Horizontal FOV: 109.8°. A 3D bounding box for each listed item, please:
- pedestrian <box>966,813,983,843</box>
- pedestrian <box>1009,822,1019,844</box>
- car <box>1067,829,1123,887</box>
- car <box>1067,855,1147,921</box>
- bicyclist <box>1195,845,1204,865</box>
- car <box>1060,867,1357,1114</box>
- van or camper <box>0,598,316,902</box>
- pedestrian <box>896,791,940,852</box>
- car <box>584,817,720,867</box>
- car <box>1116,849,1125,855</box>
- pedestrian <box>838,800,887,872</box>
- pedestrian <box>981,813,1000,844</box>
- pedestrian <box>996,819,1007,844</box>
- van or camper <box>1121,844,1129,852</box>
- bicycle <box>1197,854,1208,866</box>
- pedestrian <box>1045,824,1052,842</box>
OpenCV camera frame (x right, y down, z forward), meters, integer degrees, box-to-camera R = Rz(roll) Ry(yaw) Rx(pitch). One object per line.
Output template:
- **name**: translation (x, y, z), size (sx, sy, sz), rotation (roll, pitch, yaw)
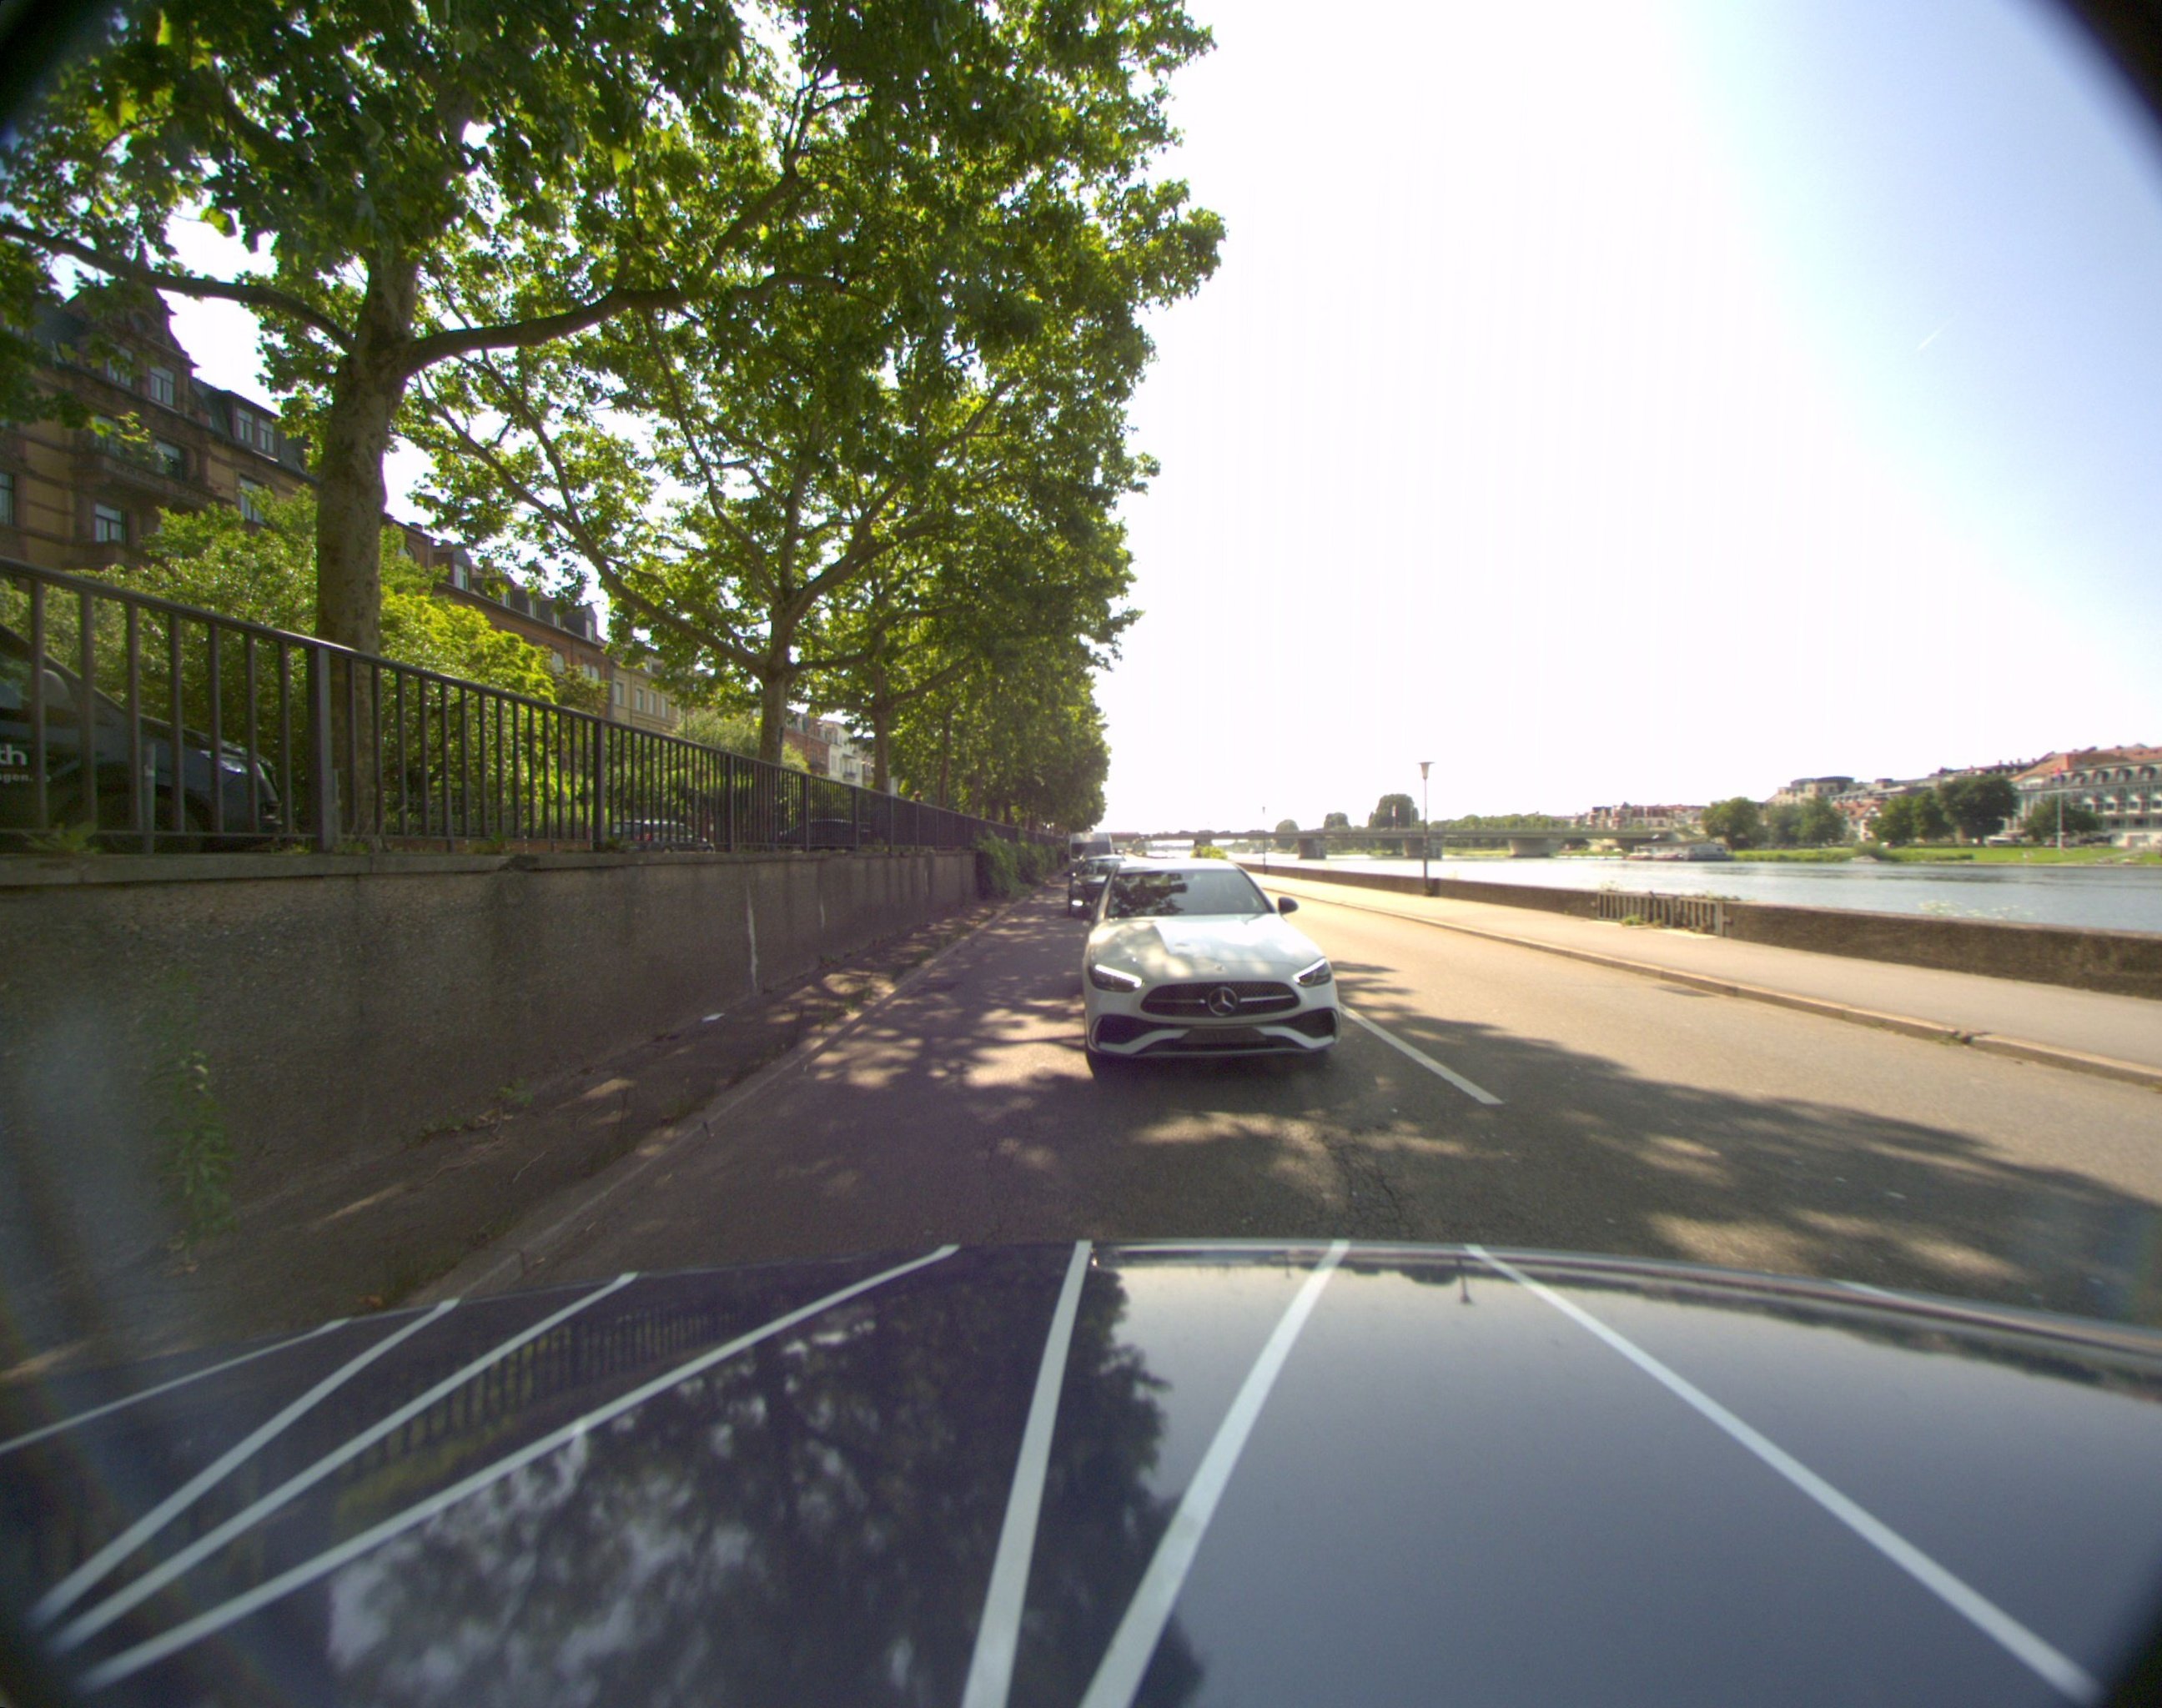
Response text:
- **pedestrian**: translation (-4.860, -1.181, 34.640), size (0.645, 1.358, 0.794), rotation (2, 1, -1)
- **pedestrian**: translation (-4.357, -1.380, 49.512), size (0.586, 1.411, 0.589), rotation (0, 1, -7)
- **car**: translation (0.603, 0.145, 35.113), size (2.351, 2.429, 6.208), rotation (0, 1, 0)
- **car**: translation (0.592, 0.770, 19.352), size (1.756, 1.385, 4.619), rotation (-1, 0, 0)
- **bicyclist**: translation (10.085, 0.088, 64.626), size (0.639, 1.664, 0.871), rotation (0, 1, 0)
- **car**: translation (0.853, 0.907, 7.061), size (1.830, 1.411, 4.552), rotation (-2, 0, 1)
- **van or camper**: translation (-9.782, -0.598, 4.185), size (2.339, 2.171, 7.368), rotation (-3, 1, 30)
- **pedestrian**: translation (-4.360, -0.864, 20.423), size (0.939, 1.570, 1.027), rotation (2, 1, -1)
- **car**: translation (-14.071, -0.376, 25.255), size (1.841, 1.504, 4.429), rotation (1, 0, 3)
- **car**: translation (8.678, -0.444, 168.318), size (1.736, 1.433, 4.045), rotation (1, 1, 0)
- **pedestrian**: translation (-4.498, -0.363, 15.685), size (0.682, 1.416, 0.949), rotation (2, 1, 0)
- **pedestrian**: translation (-4.082, -1.151, 34.364), size (0.755, 1.358, 0.814), rotation (2, 1, -1)
- **pedestrian**: translation (-5.169, -1.463, 49.374), size (0.649, 1.631, 0.626), rotation (0, 1, -7)
- **van or camper**: translation (13.032, -1.752, 223.588), size (2.082, 2.384, 5.384), rotation (2, 0, 1)
- **bicycle**: translation (10.299, 0.512, 64.689), size (0.634, 1.006, 1.985), rotation (0, 1, 0)
- **pedestrian**: translation (-2.955, -1.926, 69.052), size (0.666, 1.582, 0.651), rotation (0, 1, 1)
